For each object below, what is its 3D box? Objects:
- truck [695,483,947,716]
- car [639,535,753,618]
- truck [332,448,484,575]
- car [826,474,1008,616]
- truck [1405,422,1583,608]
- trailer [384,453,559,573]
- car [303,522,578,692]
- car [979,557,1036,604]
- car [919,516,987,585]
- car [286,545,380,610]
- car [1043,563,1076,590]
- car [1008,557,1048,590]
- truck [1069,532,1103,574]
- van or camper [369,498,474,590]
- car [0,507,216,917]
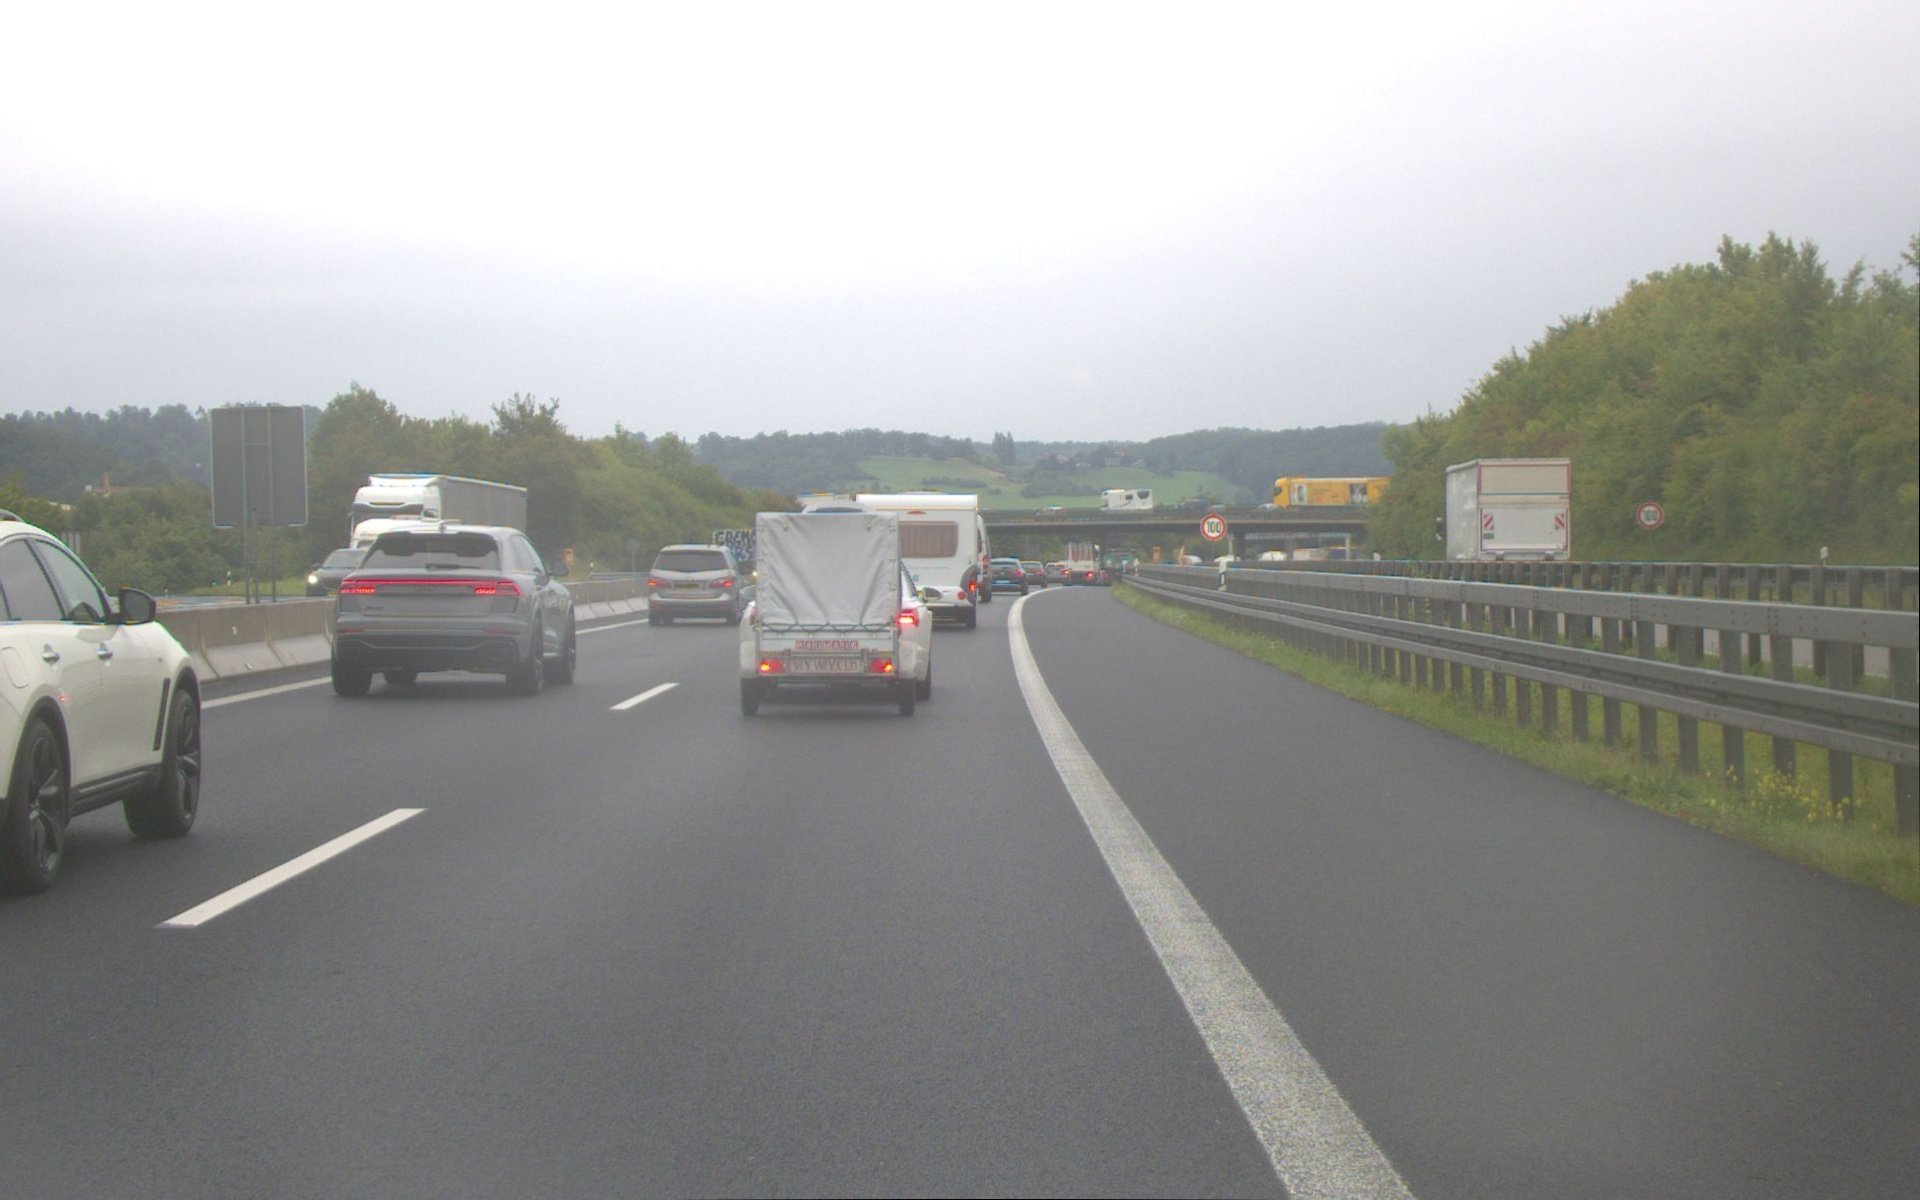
[{"bbox_3d":[-1.197,-0.062,32.884,2.019,1.979,7.213,0,1,1],"label":"truck"},{"bbox_3d":[-5.246,-0.497,68.683,1.900,1.607,4.017,0,1,1],"label":"car"},{"bbox_3d":[-18.210,-2.907,113.889,3.260,4.069,7.440,0,1,5],"label":"truck"},{"bbox_3d":[-0.749,-1.066,66.346,3.017,2.607,6.074,0,1,4],"label":"car"},{"bbox_3d":[15.350,-2.433,99.738,4.094,5.086,10.462,0,1,3],"label":"truck"},{"bbox_3d":[-17.424,-3.089,123.777,3.260,4.069,13.843,0,1,5],"label":"trailer"},{"bbox_3d":[-5.231,0.041,35.236,2.174,1.626,4.501,0,1,-1],"label":"car"},{"bbox_3d":[1.851,-0.738,131.503,1.994,1.744,4.000,1,1,3],"label":"car"},{"bbox_3d":[-0.231,-1.498,104.436,1.993,2.029,4.152,1,1,-1],"label":"car"},{"bbox_3d":[-16.076,-0.588,88.317,1.527,1.615,4.388,0,1,1],"label":"car"},{"bbox_3d":[6.687,-1.587,231.194,1.994,1.744,3.999,1,1,4],"label":"car"},{"bbox_3d":[3.735,-1.467,188.144,1.994,1.744,4.000,1,1,3],"label":"car"},{"bbox_3d":[9.491,-3.545,258.504,2.278,3.072,7.245,1,1,4],"label":"truck"},{"bbox_3d":[-14.886,-1.551,95.317,1.795,2.461,5.547,0,1,3],"label":"van or camper"},{"bbox_3d":[-4.833,0.425,15.597,1.976,1.633,4.501,0,1,-1],"label":"car"}]
